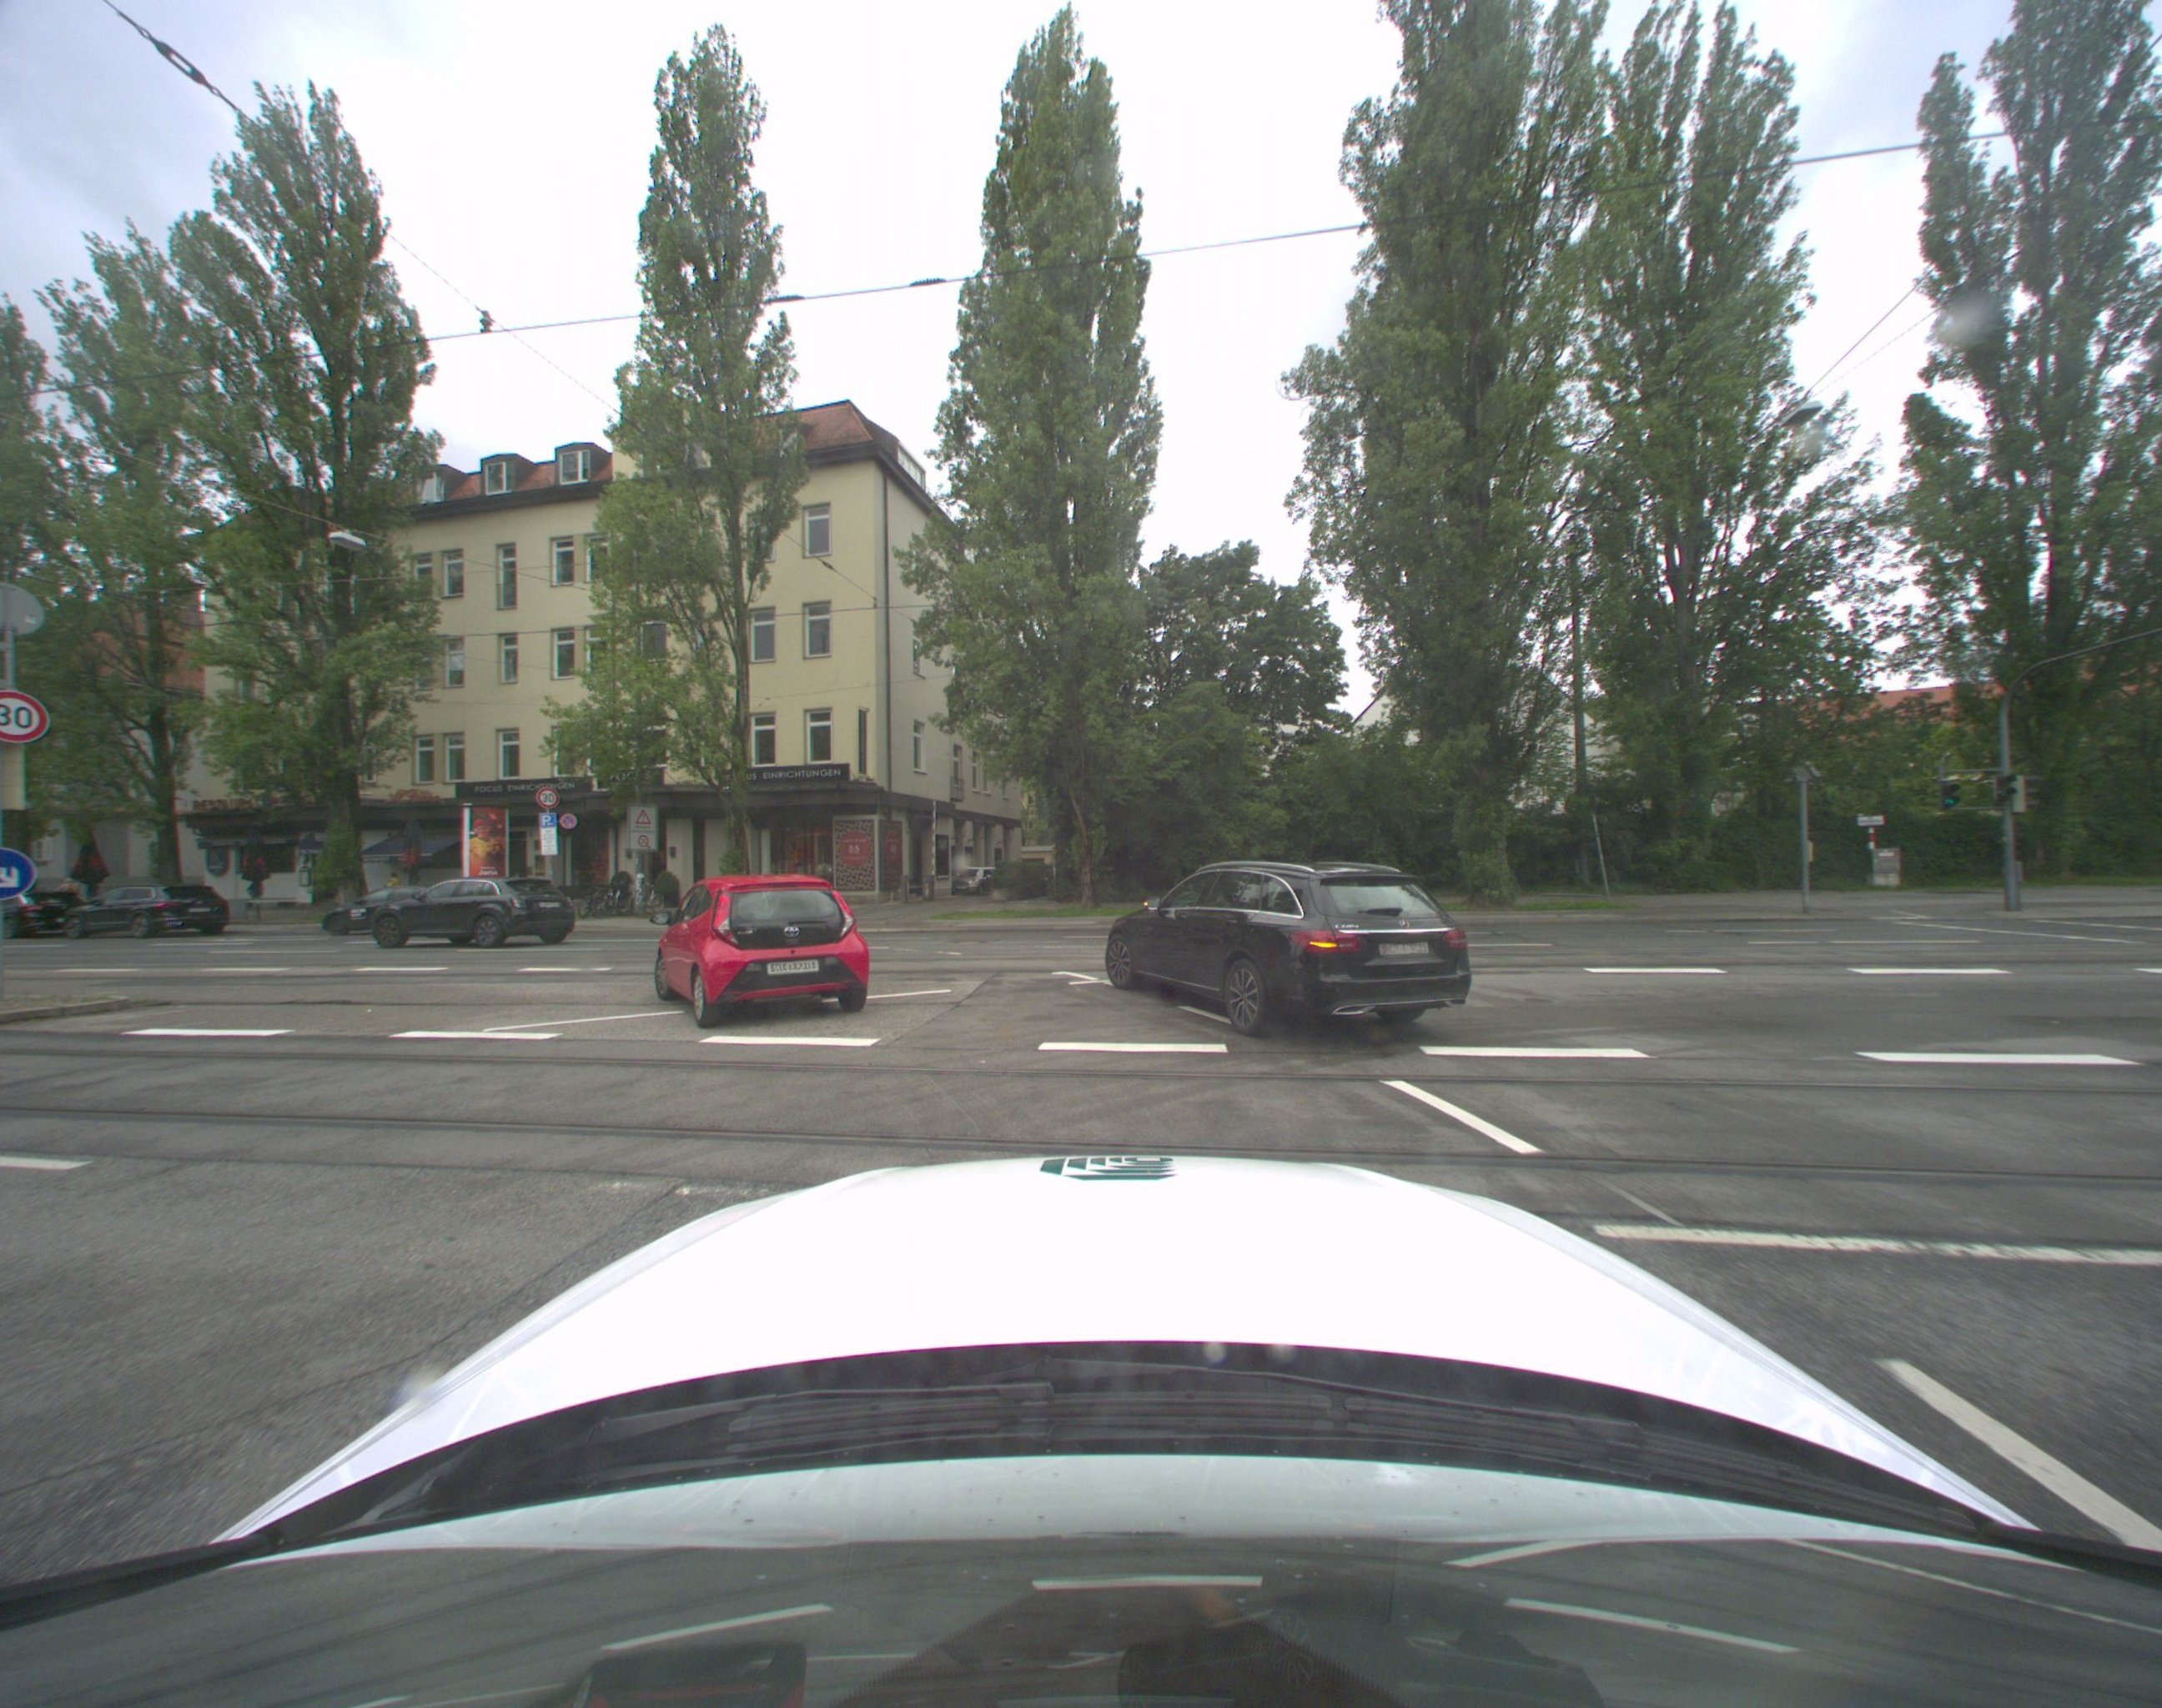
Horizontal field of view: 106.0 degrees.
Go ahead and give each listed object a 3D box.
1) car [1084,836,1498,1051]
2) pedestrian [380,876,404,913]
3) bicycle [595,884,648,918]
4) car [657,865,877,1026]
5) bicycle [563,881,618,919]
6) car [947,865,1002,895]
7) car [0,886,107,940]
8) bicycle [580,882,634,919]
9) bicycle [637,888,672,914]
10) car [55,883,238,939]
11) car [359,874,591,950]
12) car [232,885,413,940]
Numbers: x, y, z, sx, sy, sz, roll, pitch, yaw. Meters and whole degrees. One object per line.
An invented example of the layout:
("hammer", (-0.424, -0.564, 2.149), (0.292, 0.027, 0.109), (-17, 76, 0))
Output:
("car", (1.689, 0.653, 8.411), (1.869, 1.549, 4.673), (-1, 0, -19))
("pedestrian", (-29.414, 1.713, 34.769), (0.490, 1.562, 0.576), (0, -1, 12))
("bicycle", (-15.607, 1.577, 27.692), (0.492, 1.082, 1.894), (-1, -1, 9))
("car", (-3.668, 0.888, 9.175), (1.640, 1.440, 3.341), (0, -2, -34))
("bicycle", (-16.798, 1.563, 27.947), (0.492, 1.185, 1.894), (-1, -1, 9))
("car", (-5.397, 1.303, 41.826), (1.715, 1.442, 4.009), (-1, -1, 8))
("car", (-34.675, 1.923, 26.578), (4.264, 1.612, 1.810), (-1, -1, 10))
("bicycle", (-16.130, 1.566, 27.739), (0.492, 1.185, 1.894), (-1, -1, 9))
("bicycle", (-15.393, 1.691, 29.417), (0.385, 0.884, 1.375), (-1, -1, 9))
("car", (-29.286, 1.773, 25.573), (4.428, 1.612, 1.732), (-1, -1, 10))
("car", (-13.241, 1.249, 17.902), (3.963, 1.486, 1.791), (-2, -1, 9))
("car", (-22.641, 1.726, 24.385), (3.965, 1.466, 1.809), (-1, -1, 7))
